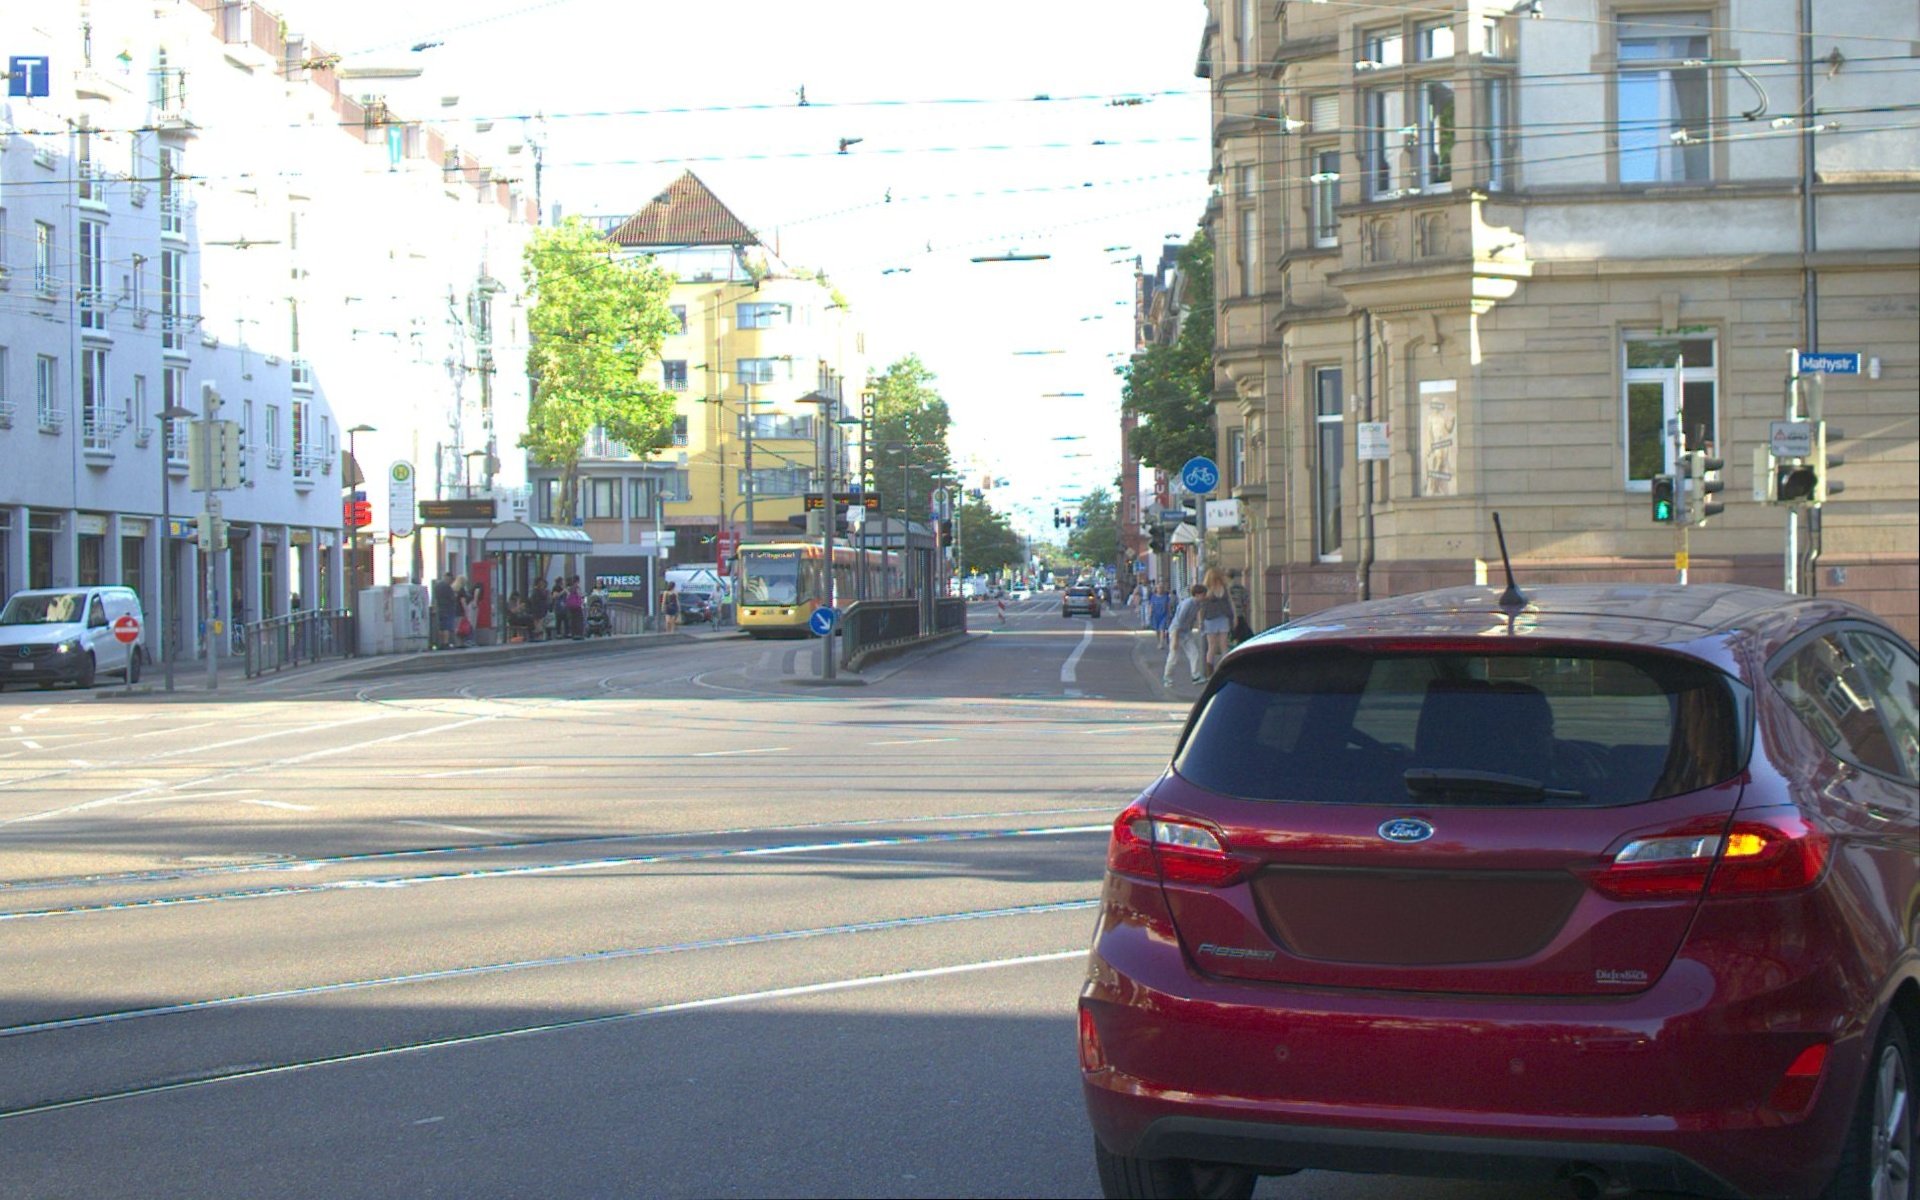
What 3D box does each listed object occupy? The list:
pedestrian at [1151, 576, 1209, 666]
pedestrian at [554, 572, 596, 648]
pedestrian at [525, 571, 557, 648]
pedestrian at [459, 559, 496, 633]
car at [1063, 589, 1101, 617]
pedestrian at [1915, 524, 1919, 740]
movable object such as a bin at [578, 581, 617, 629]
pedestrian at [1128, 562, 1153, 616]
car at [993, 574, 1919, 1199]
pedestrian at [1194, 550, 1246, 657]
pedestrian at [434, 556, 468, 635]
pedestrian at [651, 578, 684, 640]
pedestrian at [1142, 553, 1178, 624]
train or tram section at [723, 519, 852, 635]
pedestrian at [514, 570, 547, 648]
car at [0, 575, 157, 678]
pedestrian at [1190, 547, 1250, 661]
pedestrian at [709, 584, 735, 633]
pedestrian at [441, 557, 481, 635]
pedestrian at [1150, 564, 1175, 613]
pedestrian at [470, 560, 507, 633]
[{"bbox_3d":[3.349,0.327,52.326,0.794,1.327,0.719,-2,-1,1],"label":"pedestrian"},{"bbox_3d":[-9.665,0.242,86.339,0.932,1.898,0.881,-1,0,0],"label":"pedestrian"},{"bbox_3d":[-10.336,0.228,84.812,0.695,1.898,0.672,-1,0,0],"label":"pedestrian"},{"bbox_3d":[-11.029,-0.086,78.532,0.695,1.685,0.672,0,0,-21],"label":"pedestrian"},{"bbox_3d":[6.525,0.168,184.156,1.993,1.444,4.000,0,0,2],"label":"car"},{"bbox_3d":[8.512,0.264,28.185,1.023,1.801,1.083,-1,0,-1],"label":"pedestrian"},{"bbox_3d":[-9.756,0.135,92.617,0.937,1.282,0.935,-1,0,0],"label":"movable object such as a bin"},{"bbox_3d":[6.094,-0.387,116.129,0.713,1.768,0.773,-4,1,-1],"label":"pedestrian"},{"bbox_3d":[1.607,0.707,8.254,1.694,1.490,3.575,1,1,25],"label":"car"},{"bbox_3d":[4.555,0.058,60.276,0.801,1.818,0.797,-2,1,2],"label":"pedestrian"},{"bbox_3d":[-10.971,-0.093,74.099,0.599,1.686,0.613,-1,0,3],"label":"pedestrian"},{"bbox_3d":[-9.005,0.288,105.916,0.878,1.898,0.935,-1,0,-13],"label":"pedestrian"},{"bbox_3d":[4.768,-0.278,81.857,0.762,1.640,0.832,-2,1,2],"label":"pedestrian"},{"bbox_3d":[-5.543,-0.693,113.075,2.885,3.478,14.166,-2,0,2],"label":"train or tram section"},{"bbox_3d":[-10.522,0.224,84.260,0.695,1.898,0.672,-1,0,0],"label":"pedestrian"},{"bbox_3d":[-16.683,0.460,64.133,1.993,1.831,5.346,-1,0,2],"label":"car"},{"bbox_3d":[3.994,0.069,52.781,0.794,1.715,0.719,-2,-1,0],"label":"pedestrian"},{"bbox_3d":[-9.395,0.334,135.645,0.878,1.898,0.935,-1,0,-13],"label":"pedestrian"},{"bbox_3d":[-11.057,-0.090,76.187,0.765,1.727,0.519,-1,0,44],"label":"pedestrian"},{"bbox_3d":[6.837,-0.375,116.011,0.713,1.597,0.773,-4,1,-1],"label":"pedestrian"},{"bbox_3d":[-10.994,-0.082,80.128,0.695,1.685,0.672,0,0,-21],"label":"pedestrian"}]
